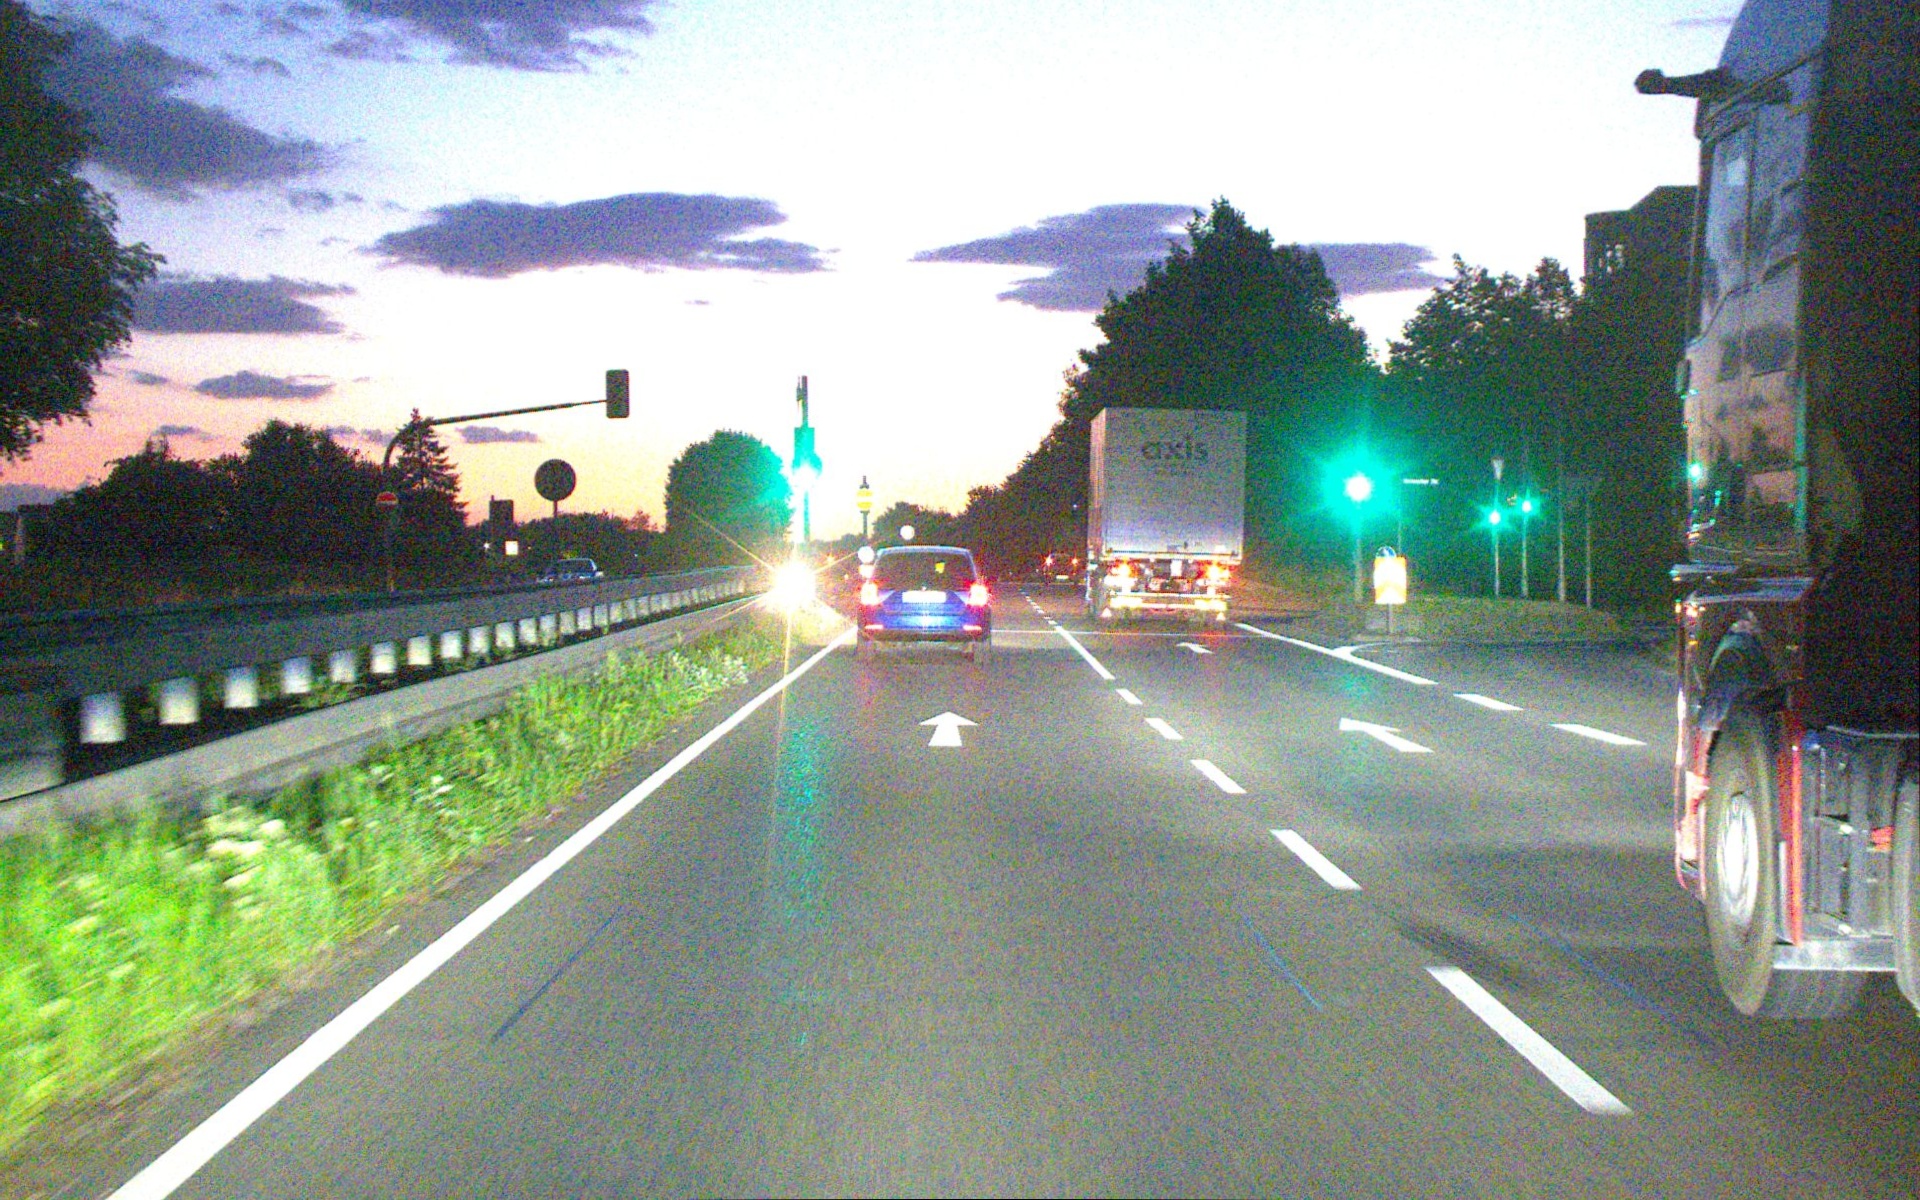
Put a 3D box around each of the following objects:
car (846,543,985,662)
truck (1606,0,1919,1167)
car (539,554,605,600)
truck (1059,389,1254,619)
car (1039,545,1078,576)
[{"bbox_3d":[-0.575,-0.006,44.268,1.695,1.447,3.914,1,1,-1],"label":"car"},{"bbox_3d":[3.741,-0.576,6.437,2.687,4.092,13.141,1,1,1],"label":"truck"},{"bbox_3d":[-11.959,-0.726,106.237,1.605,1.325,3.940,-2,1,-1],"label":"car"},{"bbox_3d":[3.697,-1.827,67.944,2.883,4.092,12.684,1,1,-1],"label":"truck"},{"bbox_3d":[4.682,-1.886,163.739,1.695,1.447,3.914,1,1,-1],"label":"car"}]
